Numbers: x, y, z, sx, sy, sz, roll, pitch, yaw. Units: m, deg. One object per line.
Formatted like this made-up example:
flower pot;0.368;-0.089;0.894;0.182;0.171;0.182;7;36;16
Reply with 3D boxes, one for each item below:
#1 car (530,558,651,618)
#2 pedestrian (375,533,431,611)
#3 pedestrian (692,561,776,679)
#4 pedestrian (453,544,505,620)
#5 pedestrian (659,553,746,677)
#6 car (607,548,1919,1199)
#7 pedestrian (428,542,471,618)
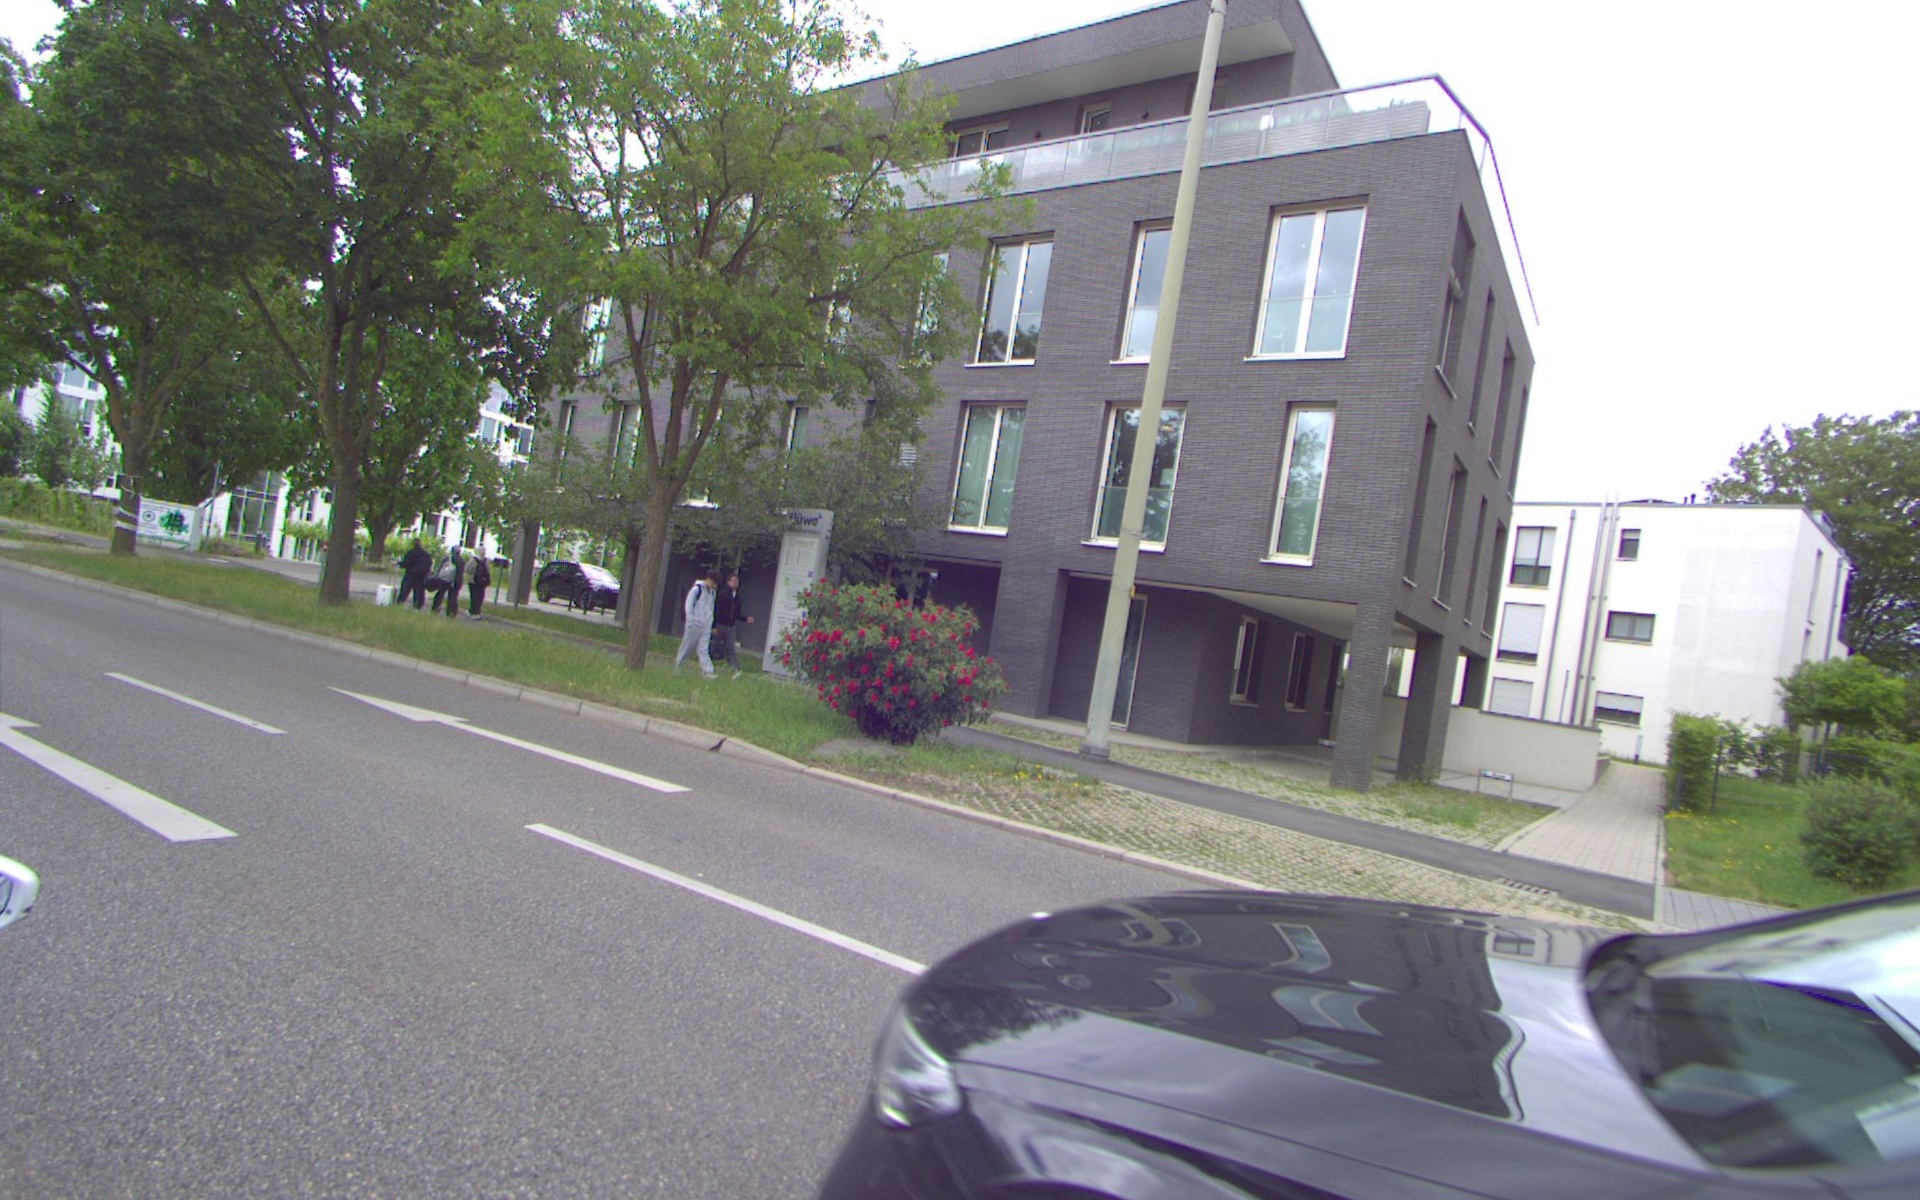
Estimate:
car;-13.218;-0.444;35.969;4.111;1.570;1.828;7;-2;33
pedestrian;-12.124;-0.596;21.900;0.578;1.570;0.726;7;-1;36
pedestrian;-3.751;0.334;16.706;0.938;1.796;0.609;10;1;32
pedestrian;-10.734;-0.402;22.450;0.732;1.570;0.589;7;-1;36
pedestrian;-4.115;0.239;16.062;0.938;1.796;0.609;10;1;32
car;1.988;1.009;1.361;4.892;1.503;2.056;7;-2;33
pedestrian;-11.075;-0.441;21.824;0.553;1.569;0.409;7;-2;36
